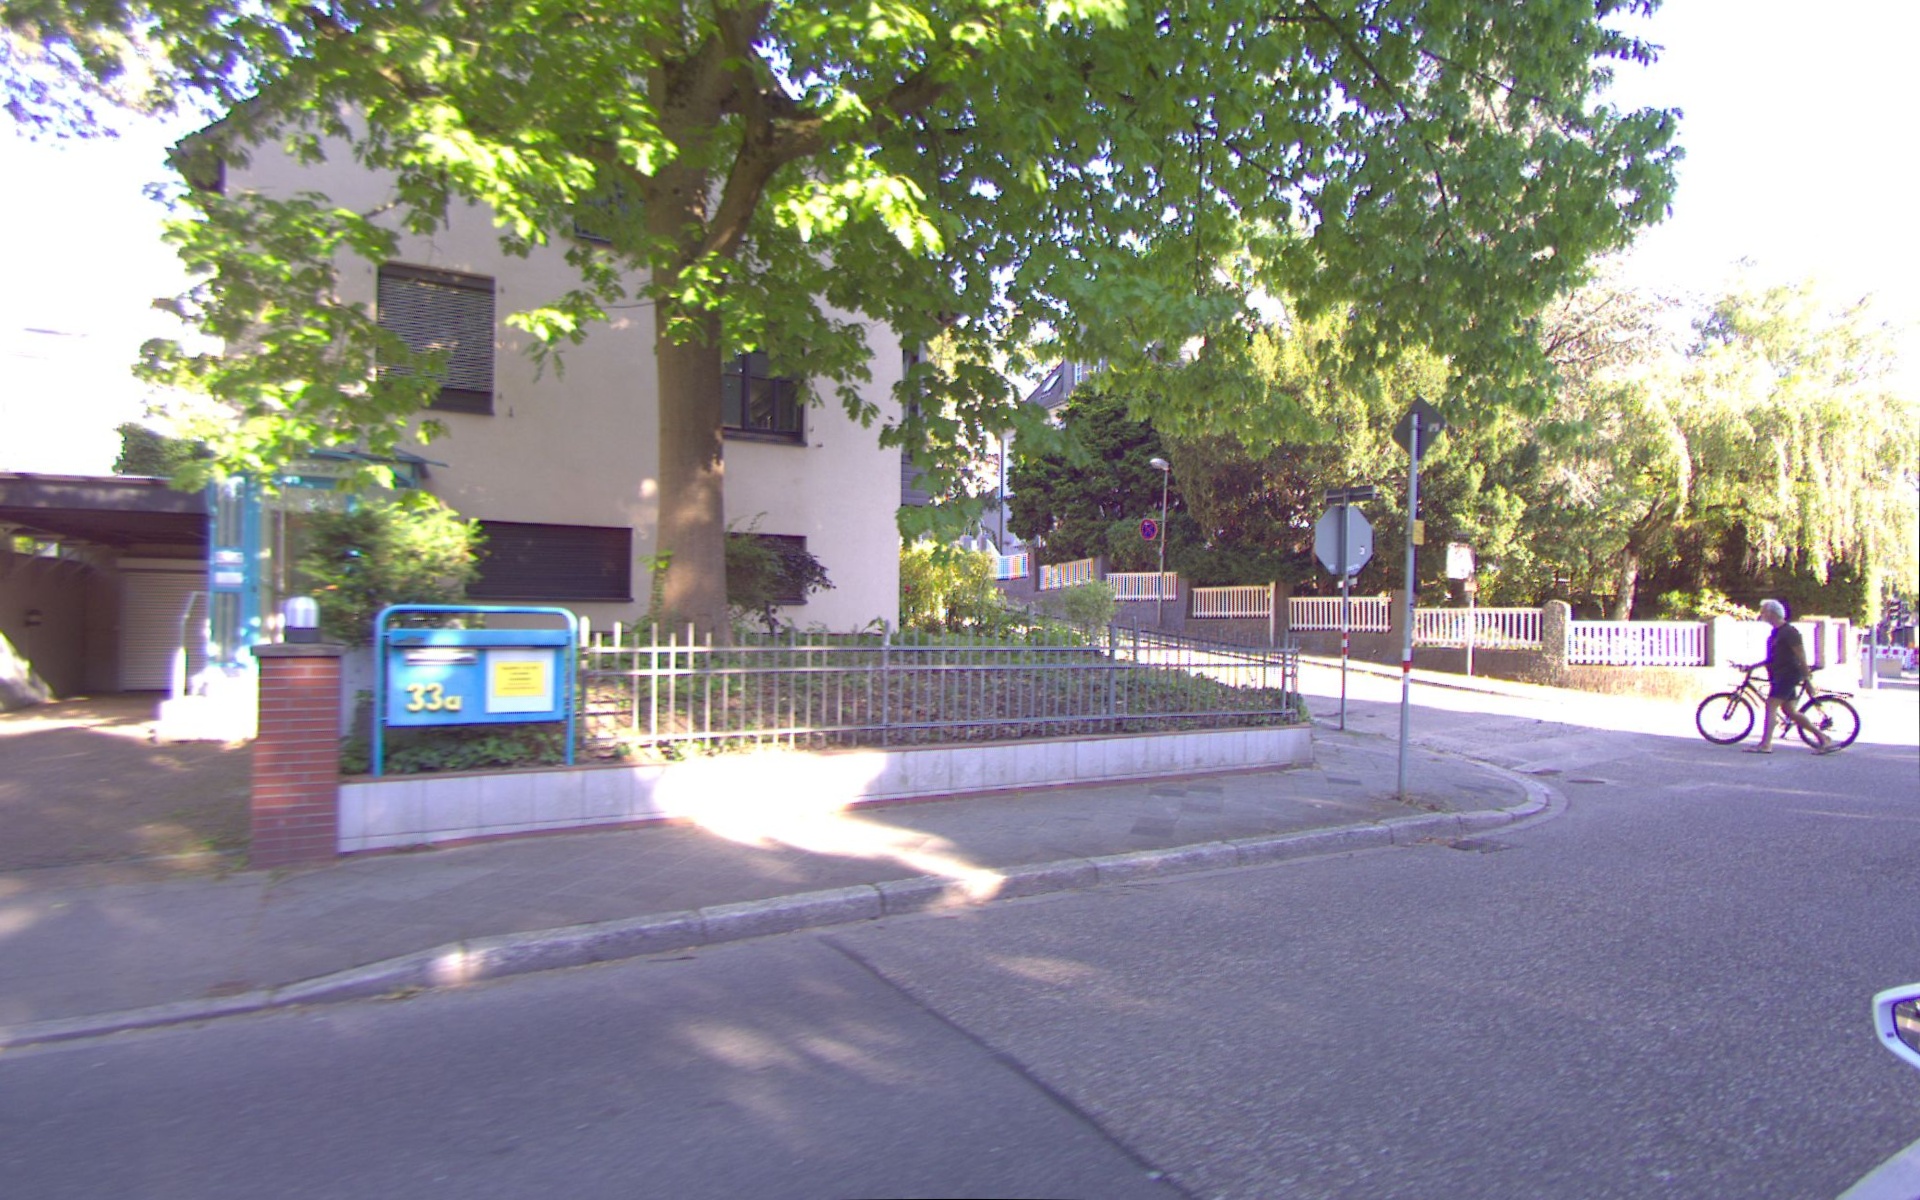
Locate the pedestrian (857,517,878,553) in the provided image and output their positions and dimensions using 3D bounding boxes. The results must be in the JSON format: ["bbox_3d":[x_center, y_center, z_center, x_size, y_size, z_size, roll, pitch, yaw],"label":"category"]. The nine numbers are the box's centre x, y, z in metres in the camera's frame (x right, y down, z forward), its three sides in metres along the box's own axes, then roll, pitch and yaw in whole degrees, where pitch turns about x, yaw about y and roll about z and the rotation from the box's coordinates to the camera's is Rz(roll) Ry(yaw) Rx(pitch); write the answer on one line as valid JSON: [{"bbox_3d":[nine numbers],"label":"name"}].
[{"bbox_3d":[-4.433,-3.106,48.092,0.767,1.664,0.687,2,1,-31],"label":"pedestrian"}]

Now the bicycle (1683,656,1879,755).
[{"bbox_3d":[10.292,1.299,12.666,1.783,1.057,0.561,2,2,24],"label":"bicycle"}]

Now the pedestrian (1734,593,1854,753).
[{"bbox_3d":[10.082,0.857,12.176,0.925,1.851,0.554,2,1,22],"label":"pedestrian"}]
